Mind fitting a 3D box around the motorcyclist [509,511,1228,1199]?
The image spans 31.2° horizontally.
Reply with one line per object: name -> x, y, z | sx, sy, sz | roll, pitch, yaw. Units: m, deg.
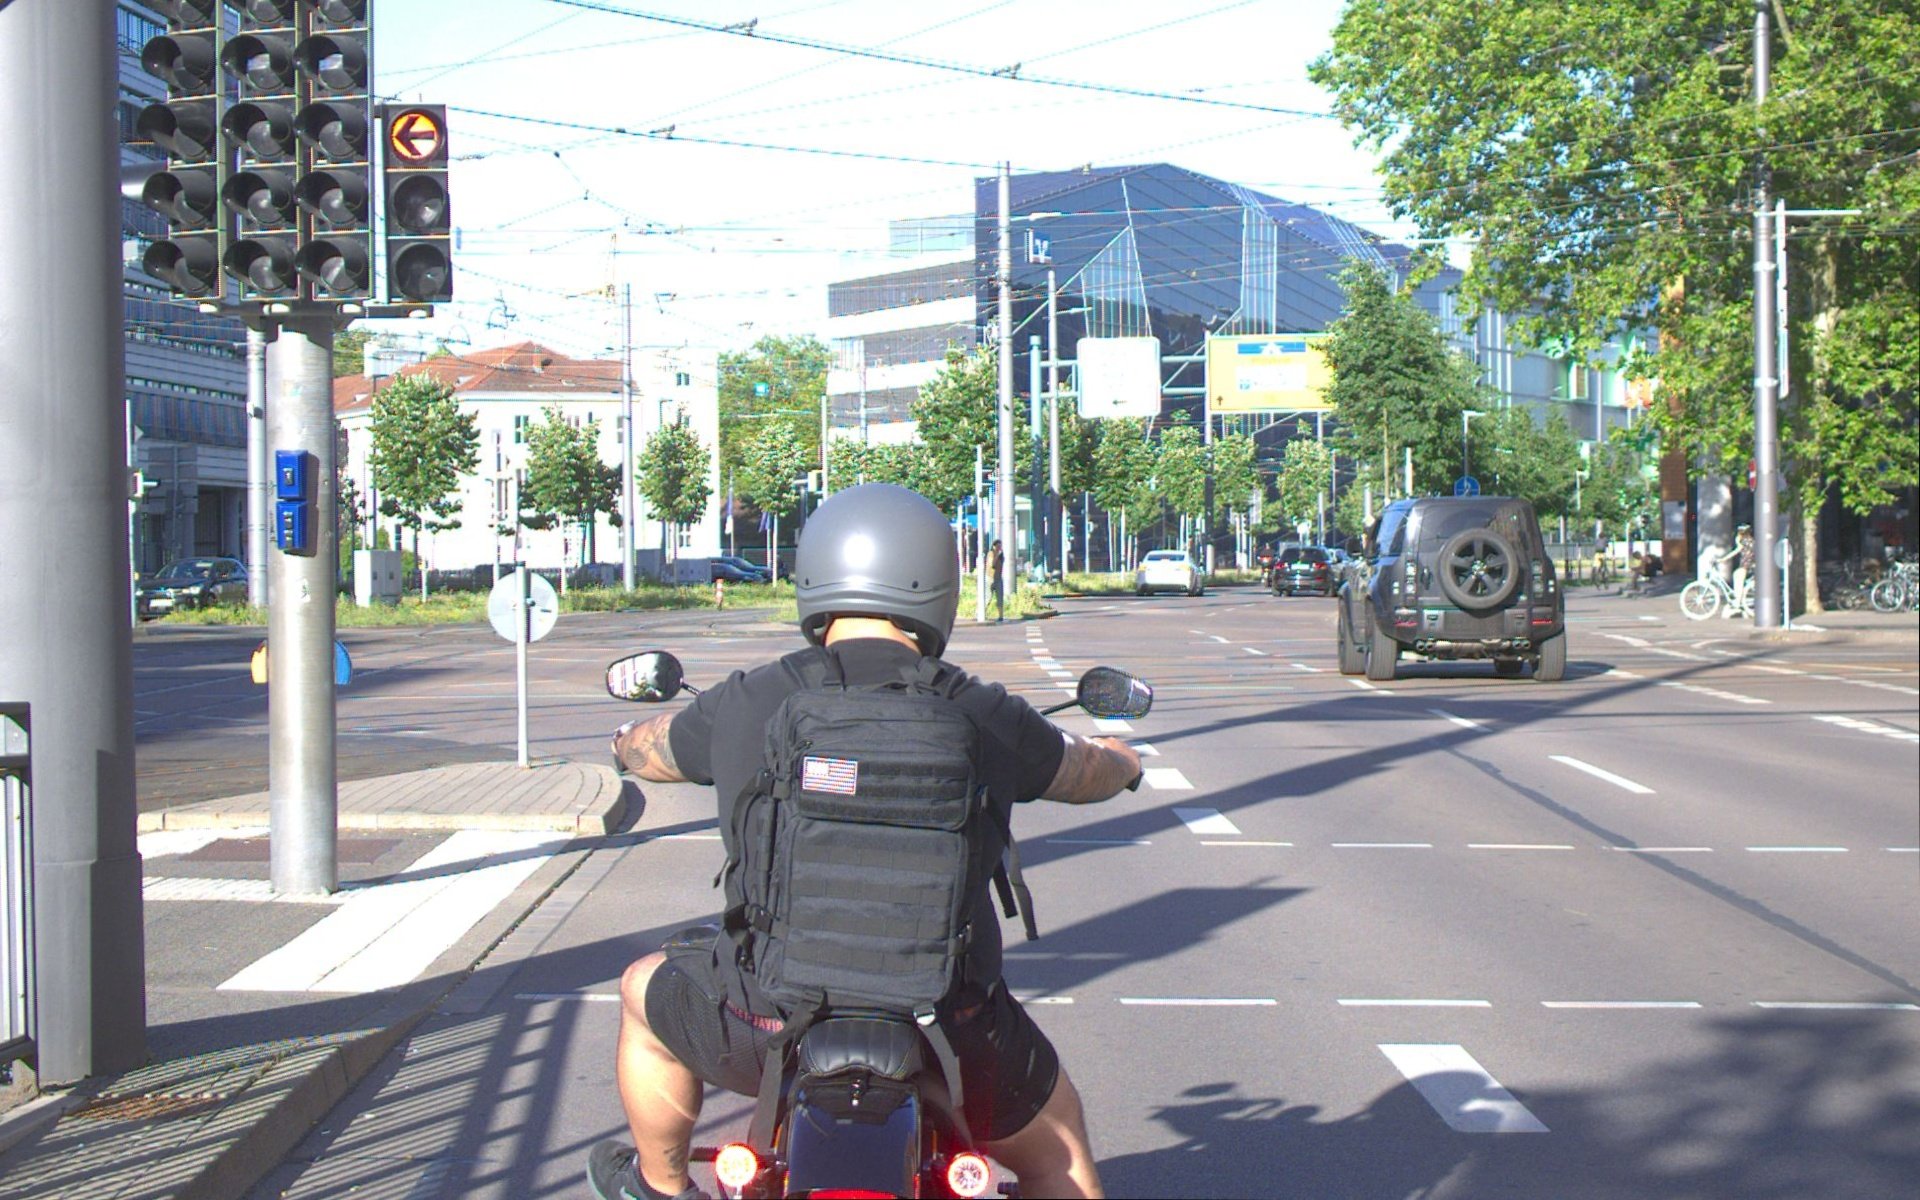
motorcyclist -> -0.144, 0.640, 5.600 | 1.022, 1.547, 1.286 | 1, 1, -1

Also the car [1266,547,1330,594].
car -> 10.812, -0.934, 109.798 | 1.842, 1.459, 3.999 | 1, 1, 8

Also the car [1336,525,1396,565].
car -> 17.498, -2.381, 148.030 | 1.722, 1.651, 3.750 | 0, 1, 20

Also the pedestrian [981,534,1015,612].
pedestrian -> 0.776, -0.544, 69.339 | 0.657, 1.577, 0.489 | 0, 1, 3

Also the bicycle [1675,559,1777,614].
bicycle -> 14.529, -0.257, 65.241 | 1.853, 1.018, 0.516 | -1, 0, 11

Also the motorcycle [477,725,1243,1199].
motorcycle -> -0.150, 0.839, 5.712 | 1.005, 1.121, 2.323 | 1, 1, -1

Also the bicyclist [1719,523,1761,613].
bicyclist -> 14.793, -0.613, 65.197 | 0.743, 1.689, 0.570 | -1, 0, 11

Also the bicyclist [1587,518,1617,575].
bicyclist -> 20.764, -1.722, 111.103 | 0.861, 1.834, 1.256 | 0, 1, 14

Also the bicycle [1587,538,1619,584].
bicycle -> 20.773, -1.269, 111.049 | 0.861, 1.476, 2.574 | 0, 1, 14

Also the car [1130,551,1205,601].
car -> 6.491, -0.748, 107.139 | 1.902, 1.503, 3.998 | 1, 1, 10

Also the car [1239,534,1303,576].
car -> 11.690, -1.708, 129.125 | 1.774, 1.509, 3.730 | 0, 1, 15

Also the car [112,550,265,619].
car -> -17.602, -0.372, 78.637 | 1.792, 1.461, 4.309 | -1, 2, 11

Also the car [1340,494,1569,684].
car -> 5.171, -0.133, 36.463 | 2.053, 1.867, 4.226 | 1, 1, 4

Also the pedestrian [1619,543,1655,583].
pedestrian -> 17.866, -0.978, 90.669 | 0.785, 1.053, 0.813 | 0, 1, 22
